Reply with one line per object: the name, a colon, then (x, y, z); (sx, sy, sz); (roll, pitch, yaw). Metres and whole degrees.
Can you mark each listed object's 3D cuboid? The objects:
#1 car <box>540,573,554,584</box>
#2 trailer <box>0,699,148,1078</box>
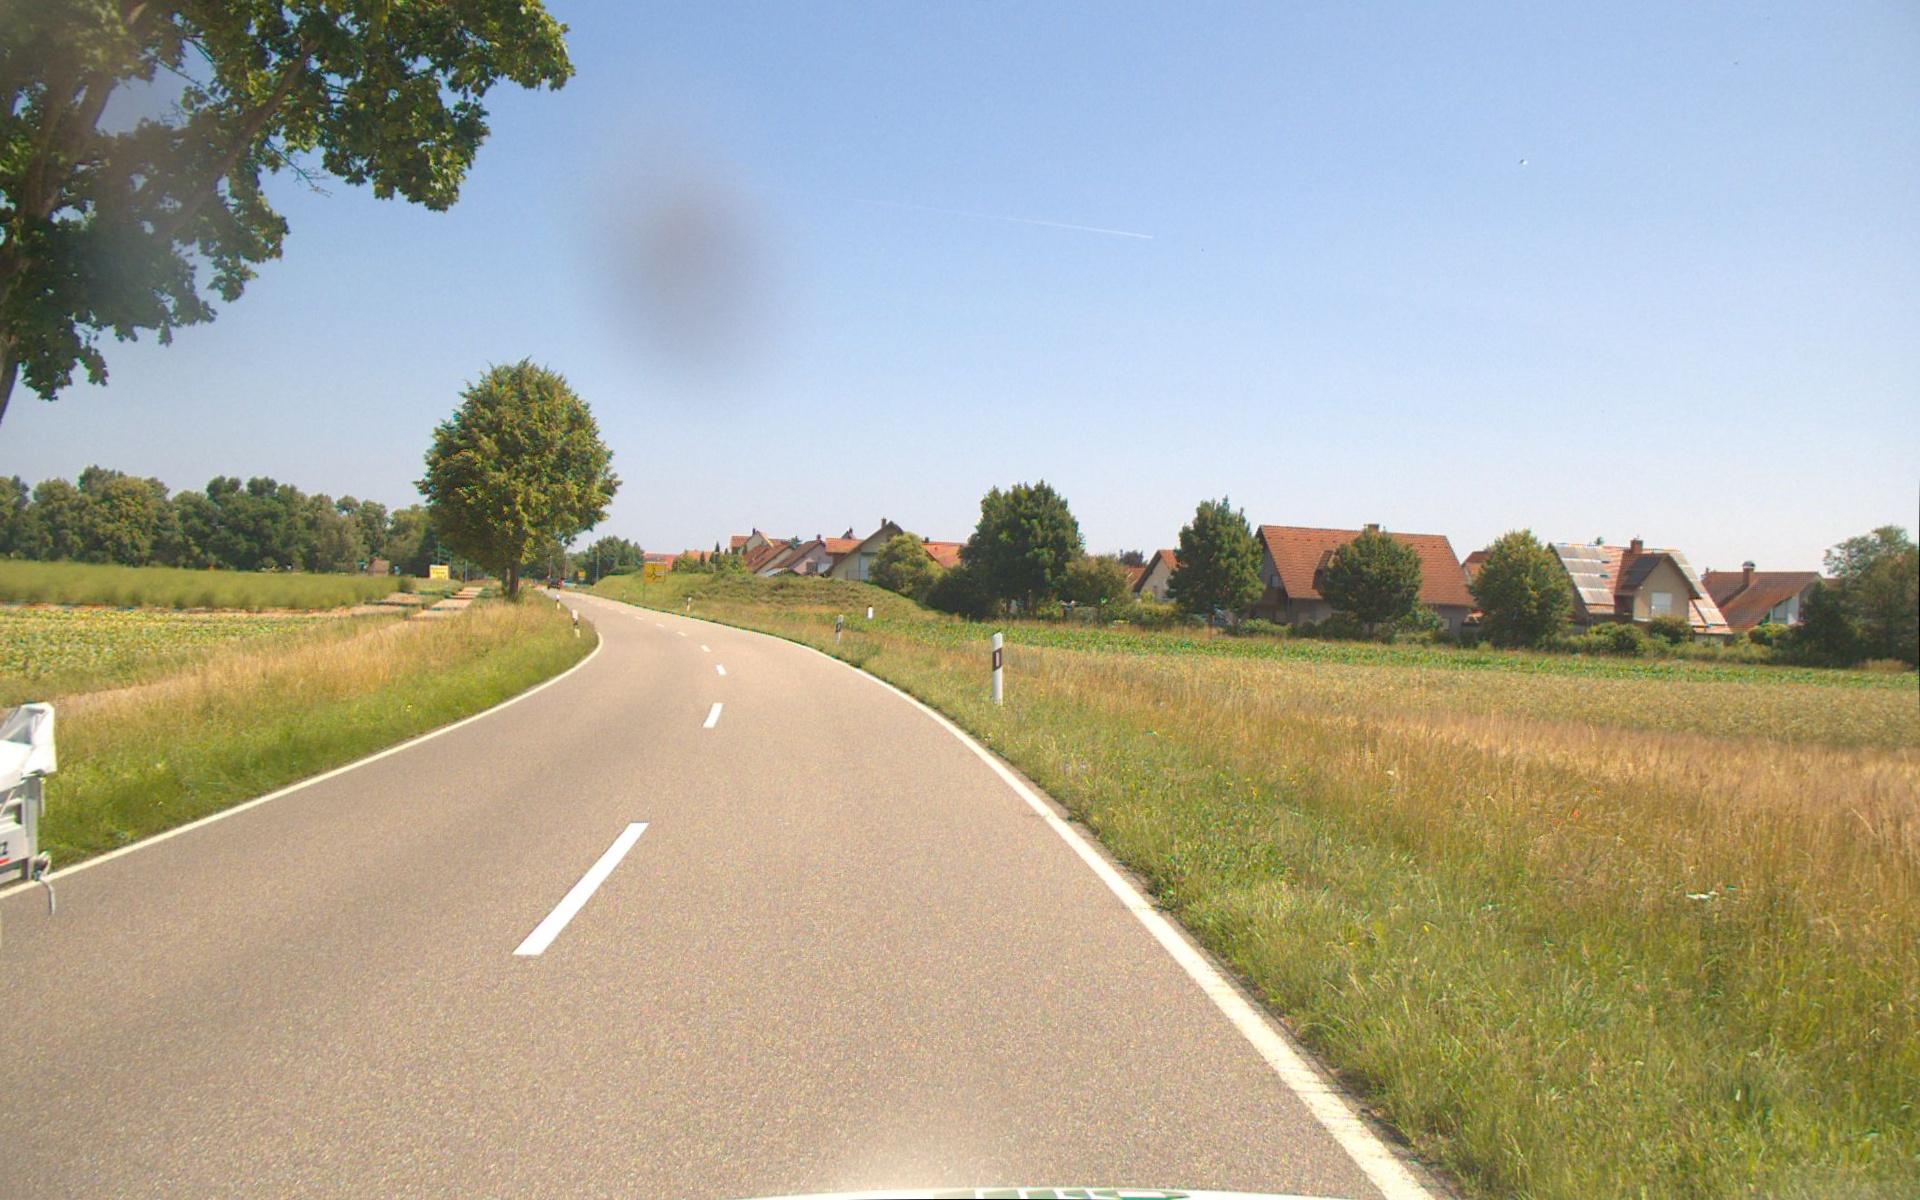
car: (-63.116, -3.332, 252.687); (1.805, 1.563, 3.602); (2, 0, -10)
trailer: (-3.645, 0.922, 3.938); (1.590, 1.083, 4.116); (-1, 0, -4)
